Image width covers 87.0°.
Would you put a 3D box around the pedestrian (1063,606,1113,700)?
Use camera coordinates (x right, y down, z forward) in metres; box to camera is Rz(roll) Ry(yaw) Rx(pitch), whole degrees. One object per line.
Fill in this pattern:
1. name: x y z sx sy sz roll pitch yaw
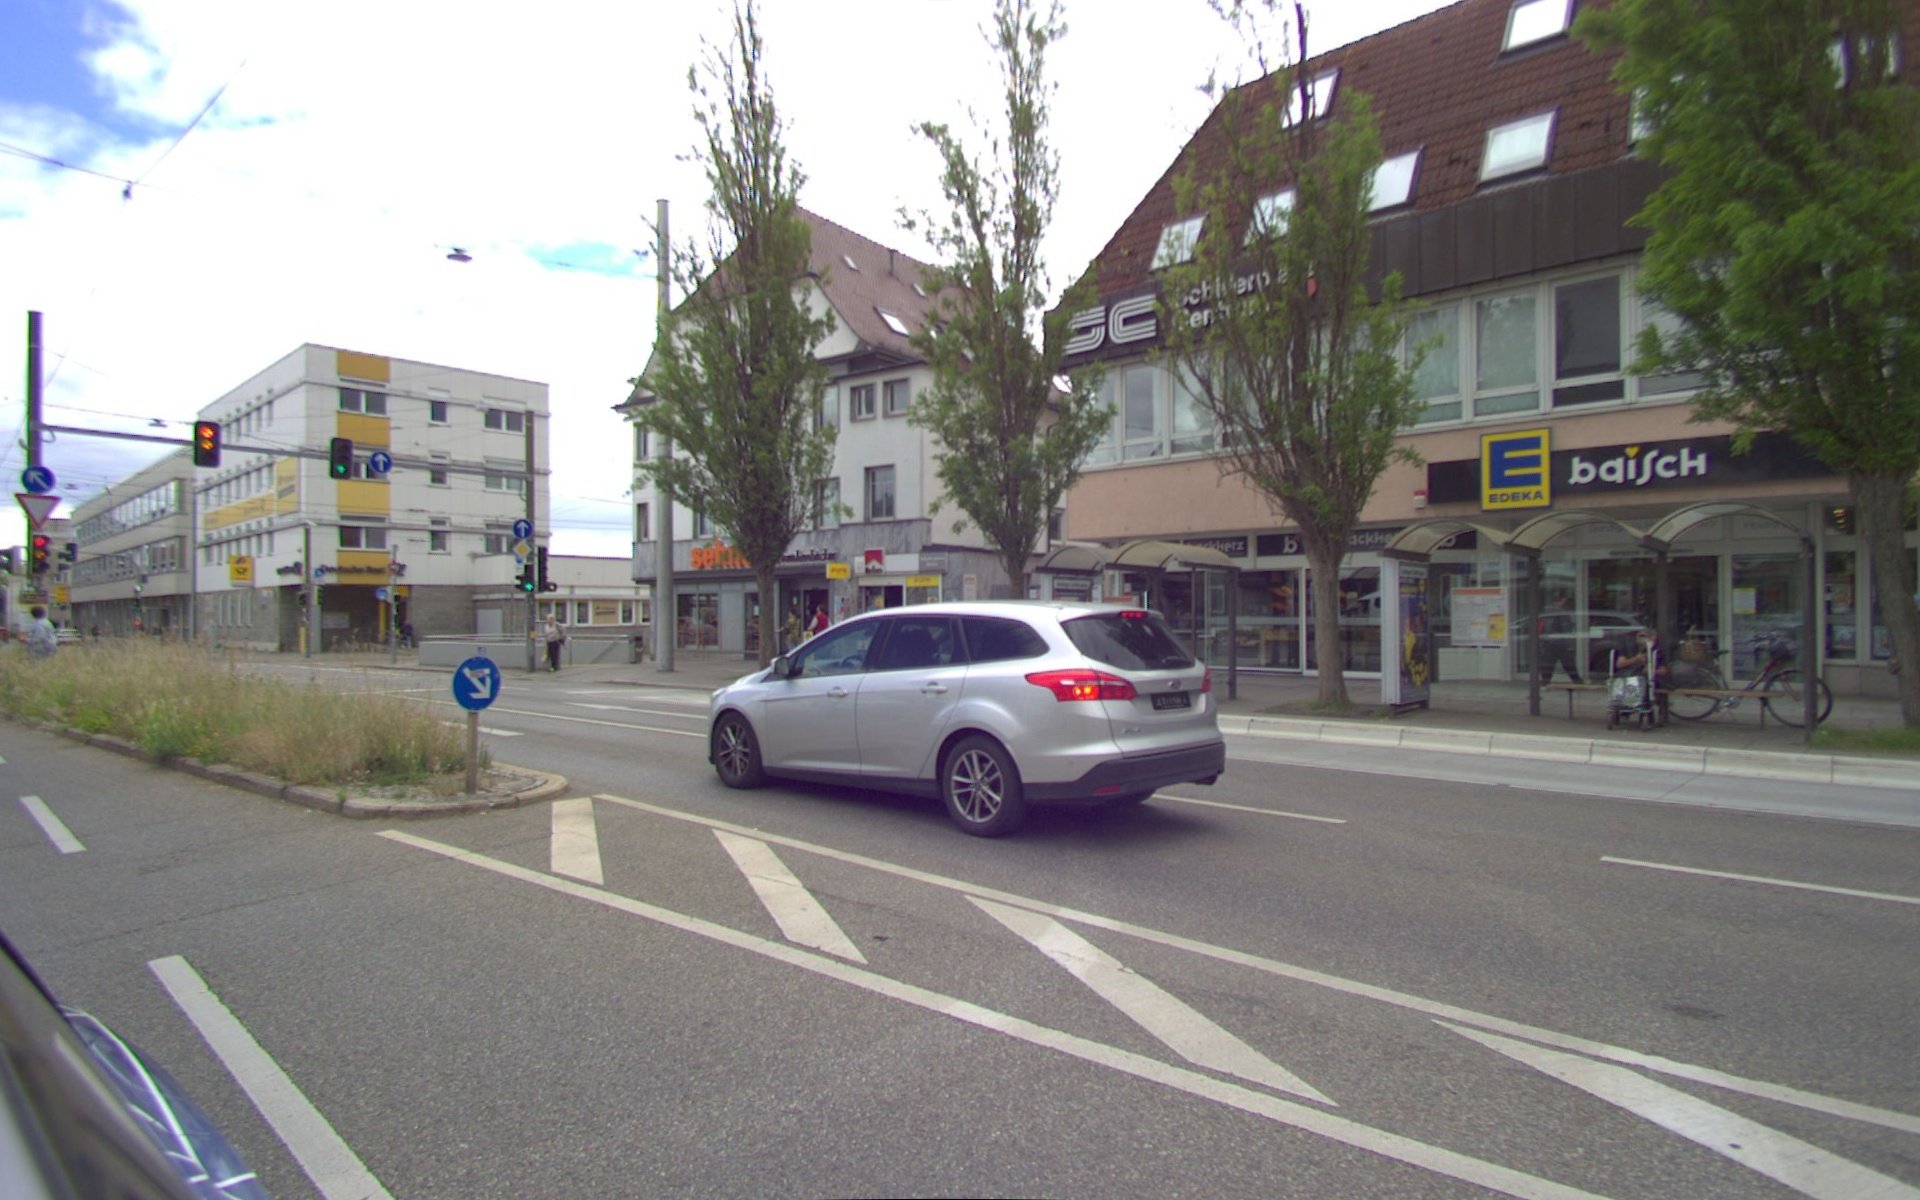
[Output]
1. pedestrian: 2.329 0.962 18.356 0.710 1.665 0.583 -2 -1 25

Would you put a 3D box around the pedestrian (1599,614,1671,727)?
1. pedestrian: 8.626 0.883 12.932 0.588 1.374 0.703 -3 -2 45

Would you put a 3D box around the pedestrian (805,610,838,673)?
1. pedestrian: -3.882 1.153 28.353 0.614 1.725 0.580 -2 1 41

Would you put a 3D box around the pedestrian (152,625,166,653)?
1. pedestrian: -53.114 2.609 67.109 0.526 1.816 0.580 -2 1 42

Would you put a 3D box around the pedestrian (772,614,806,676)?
1. pedestrian: -4.660 1.226 27.625 0.614 1.646 0.580 -2 1 40

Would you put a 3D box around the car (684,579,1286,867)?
1. car: -0.040 0.704 7.527 4.343 1.517 1.854 -1 -2 43

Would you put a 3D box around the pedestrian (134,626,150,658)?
1. pedestrian: -47.689 2.422 58.970 0.526 1.816 0.580 -2 1 42

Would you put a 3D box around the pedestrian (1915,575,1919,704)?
1. pedestrian: 12.884 0.556 13.038 0.755 1.777 0.718 -2 1 40

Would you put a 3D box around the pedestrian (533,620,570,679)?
1. pedestrian: -11.941 1.448 29.572 0.613 1.646 0.694 -3 1 32

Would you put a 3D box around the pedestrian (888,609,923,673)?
1. pedestrian: -1.454 1.090 26.904 0.614 1.646 0.580 -2 1 41

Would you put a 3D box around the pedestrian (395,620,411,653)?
1. pedestrian: -28.431 1.849 51.661 0.615 1.647 0.580 -2 -2 42

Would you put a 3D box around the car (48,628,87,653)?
1. car: -76.953 3.510 87.223 4.484 2.029 1.973 -2 -1 41

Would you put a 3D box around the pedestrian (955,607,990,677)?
1. pedestrian: 0.313 1.044 25.246 0.614 1.725 0.580 -2 -2 41

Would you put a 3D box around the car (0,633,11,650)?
1. car: -99.402 4.251 104.308 4.694 1.752 2.046 -2 -4 44

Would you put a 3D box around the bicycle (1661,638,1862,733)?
1. bicycle: 10.035 1.037 12.733 1.929 1.098 0.528 -2 -1 41

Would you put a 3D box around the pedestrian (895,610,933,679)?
1. pedestrian: -1.129 1.090 24.910 0.614 1.646 0.580 -2 1 41

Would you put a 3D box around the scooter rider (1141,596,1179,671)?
1. scooter rider: 4.719 0.781 23.870 0.587 1.725 0.607 -2 1 39

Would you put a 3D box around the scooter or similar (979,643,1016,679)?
1. scooter or similar: 0.919 1.497 24.918 0.702 0.855 0.586 -2 -2 42

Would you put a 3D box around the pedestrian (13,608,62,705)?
1. pedestrian: -15.989 0.963 17.542 0.662 1.647 0.498 -2 -2 36
